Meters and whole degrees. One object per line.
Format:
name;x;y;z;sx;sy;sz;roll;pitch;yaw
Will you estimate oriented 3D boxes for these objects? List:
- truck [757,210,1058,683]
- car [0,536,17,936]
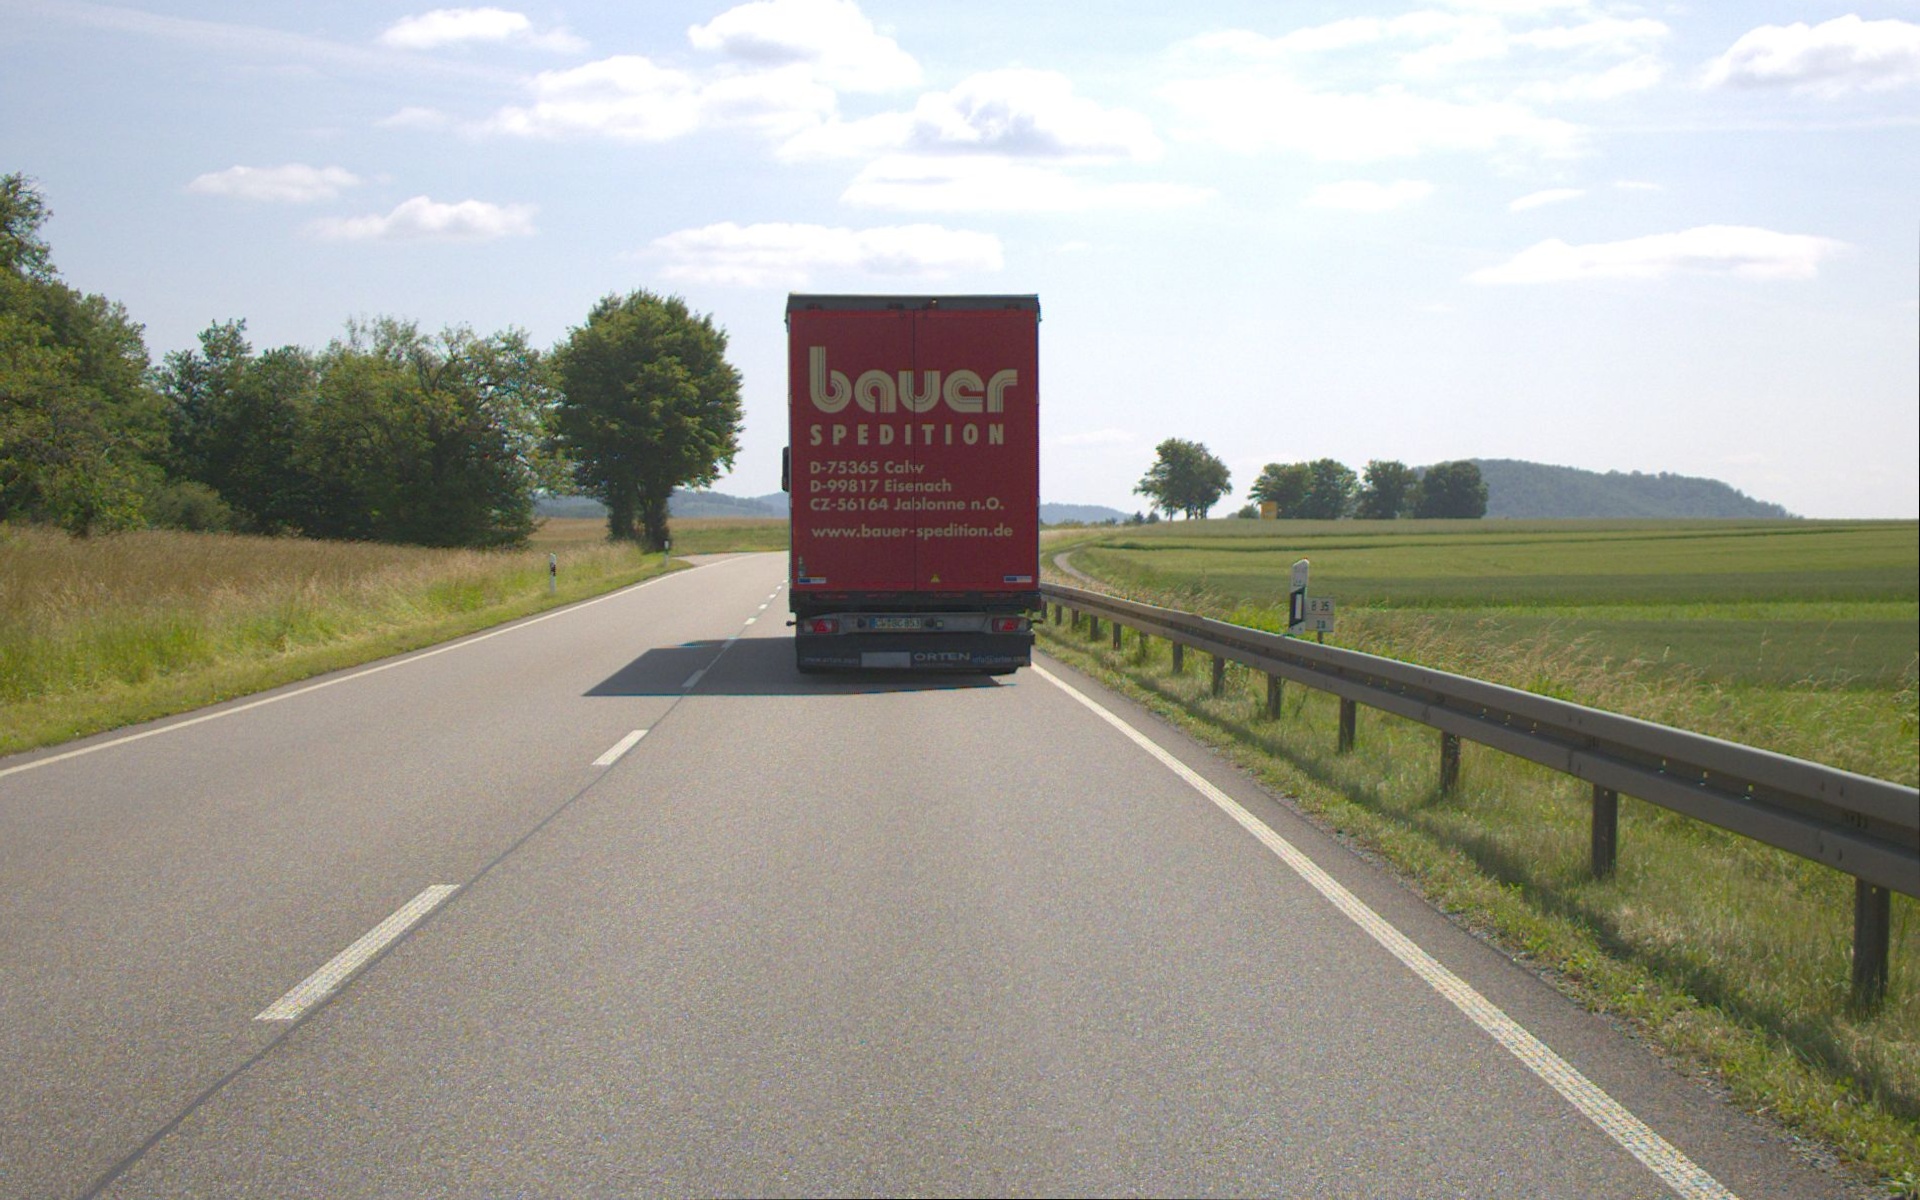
truck;-0.658;-1.575;39.020;2.975;4.697;9.367;0;1;-2
car;-4.445;0.549;11.161;1.745;1.509;4.054;0;1;-2
